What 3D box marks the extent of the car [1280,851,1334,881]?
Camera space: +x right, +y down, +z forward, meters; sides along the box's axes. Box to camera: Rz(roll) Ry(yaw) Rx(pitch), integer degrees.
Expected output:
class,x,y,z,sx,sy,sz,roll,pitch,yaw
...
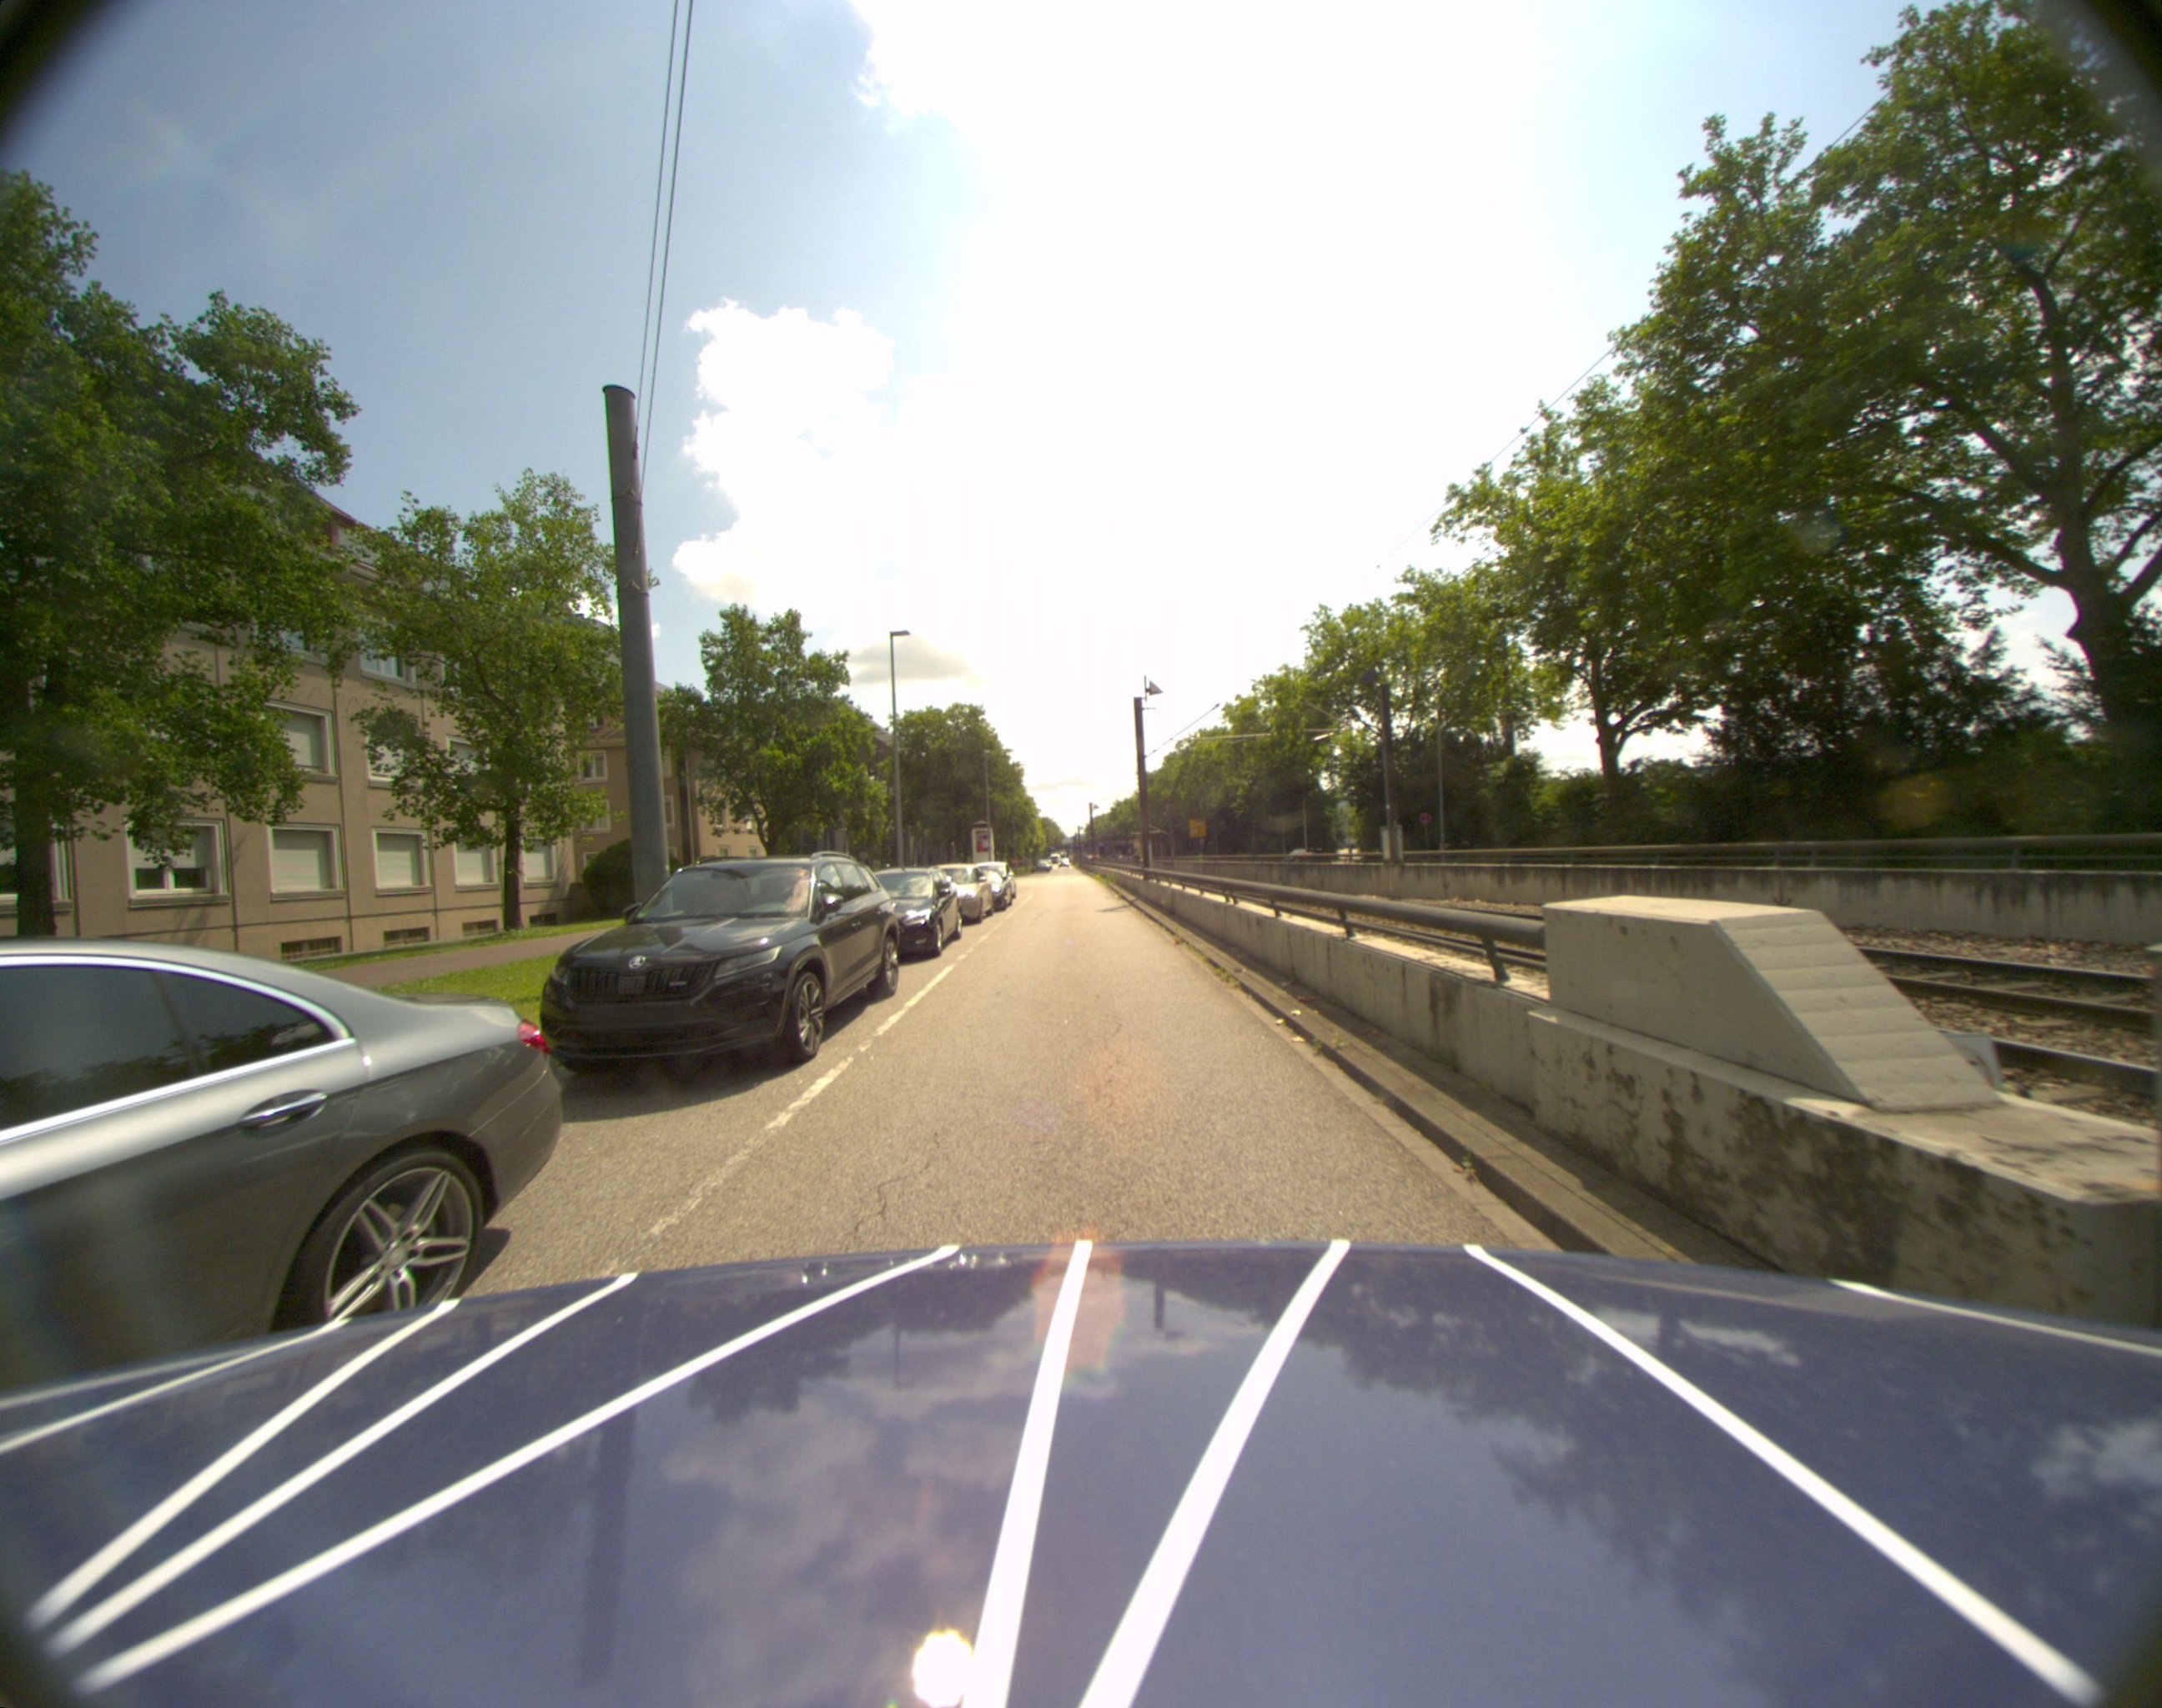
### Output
class,x,y,z,sx,sy,sz,roll,pitch,yaw
car,12.584,0.662,42.562,1.671,1.587,4.298,-2,0,-1

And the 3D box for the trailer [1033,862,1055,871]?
class,x,y,z,sx,sy,sz,roll,pitch,yaw
trailer,-4.403,1.478,90.514,2.303,0.823,6.819,-2,0,-1

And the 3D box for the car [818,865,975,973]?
class,x,y,z,sx,sy,sz,roll,pitch,yaw
car,-3.076,1.000,13.599,1.648,1.521,4.442,-2,0,0

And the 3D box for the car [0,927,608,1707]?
class,x,y,z,sx,sy,sz,roll,pitch,yaw
car,-3.051,1.053,0.968,1.821,1.445,4.990,-2,-1,-1

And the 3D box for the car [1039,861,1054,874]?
class,x,y,z,sx,sy,sz,roll,pitch,yaw
car,-4.623,1.800,102.357,1.809,1.496,3.734,-3,0,-1

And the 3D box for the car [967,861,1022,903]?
class,x,y,z,sx,sy,sz,roll,pitch,yaw
car,-3.398,1.063,30.356,1.712,1.470,3.789,-2,0,0

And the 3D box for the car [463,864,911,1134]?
class,x,y,z,sx,sy,sz,roll,pitch,yaw
car,-3.023,0.948,7.167,1.821,1.652,4.670,-2,-1,-1

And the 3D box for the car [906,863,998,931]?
class,x,y,z,sx,sy,sz,roll,pitch,yaw
car,-3.243,1.037,19.828,1.673,1.506,3.851,-2,0,1

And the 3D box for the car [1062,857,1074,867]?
class,x,y,z,sx,sy,sz,roll,pitch,yaw
car,-2.320,1.410,135.290,1.999,1.710,4.304,-1,0,-1

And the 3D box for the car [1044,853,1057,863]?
class,x,y,z,sx,sy,sz,roll,pitch,yaw
car,-4.748,0.574,118.645,1.809,1.496,3.734,-3,0,-1

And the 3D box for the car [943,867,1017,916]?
class,x,y,z,sx,sy,sz,roll,pitch,yaw
car,-3.154,1.152,24.556,1.829,1.304,4.442,-2,0,-1
